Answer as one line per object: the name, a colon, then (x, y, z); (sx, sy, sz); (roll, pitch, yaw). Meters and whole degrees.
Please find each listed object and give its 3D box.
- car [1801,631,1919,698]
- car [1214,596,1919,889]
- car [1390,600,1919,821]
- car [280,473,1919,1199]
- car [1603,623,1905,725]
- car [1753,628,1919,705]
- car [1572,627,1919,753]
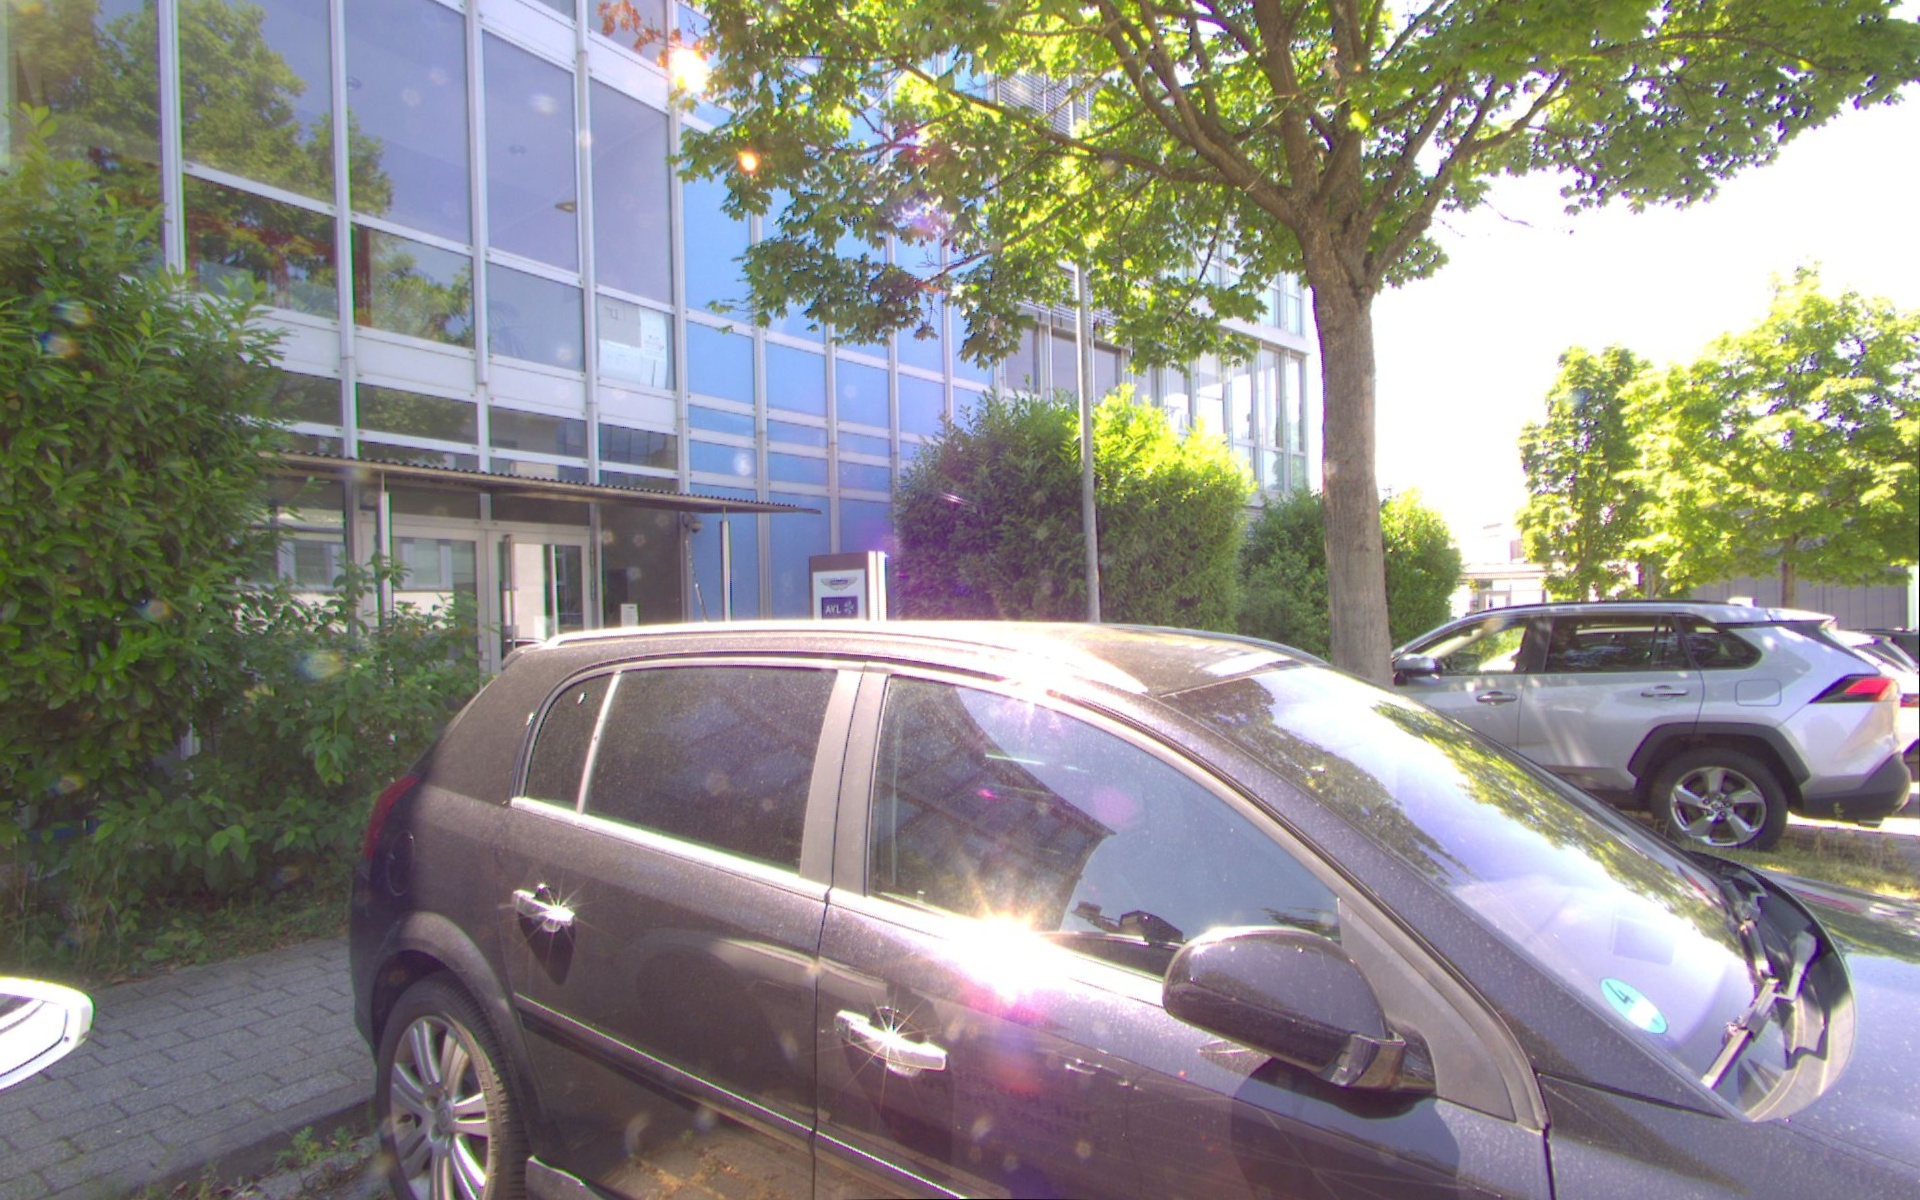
car: (22.250, 1.512, 23.488); (1.614, 1.462, 3.566); (1, -1, -34)
car: (4.370, 0.827, 7.760); (4.278, 1.664, 1.844); (0, -1, 39)
car: (6.443, 0.863, 9.374); (4.150, 1.664, 1.649); (0, -1, 39)
car: (0.452, 0.722, 2.127); (4.506, 1.569, 1.753); (-1, -2, 36)
car: (14.657, 1.279, 18.696); (1.641, 1.626, 4.145); (1, -1, -38)
car: (20.182, 1.449, 22.369); (1.614, 1.545, 3.566); (1, -1, -34)
car: (11.399, 1.186, 14.423); (1.645, 1.505, 4.136); (2, -1, -44)
